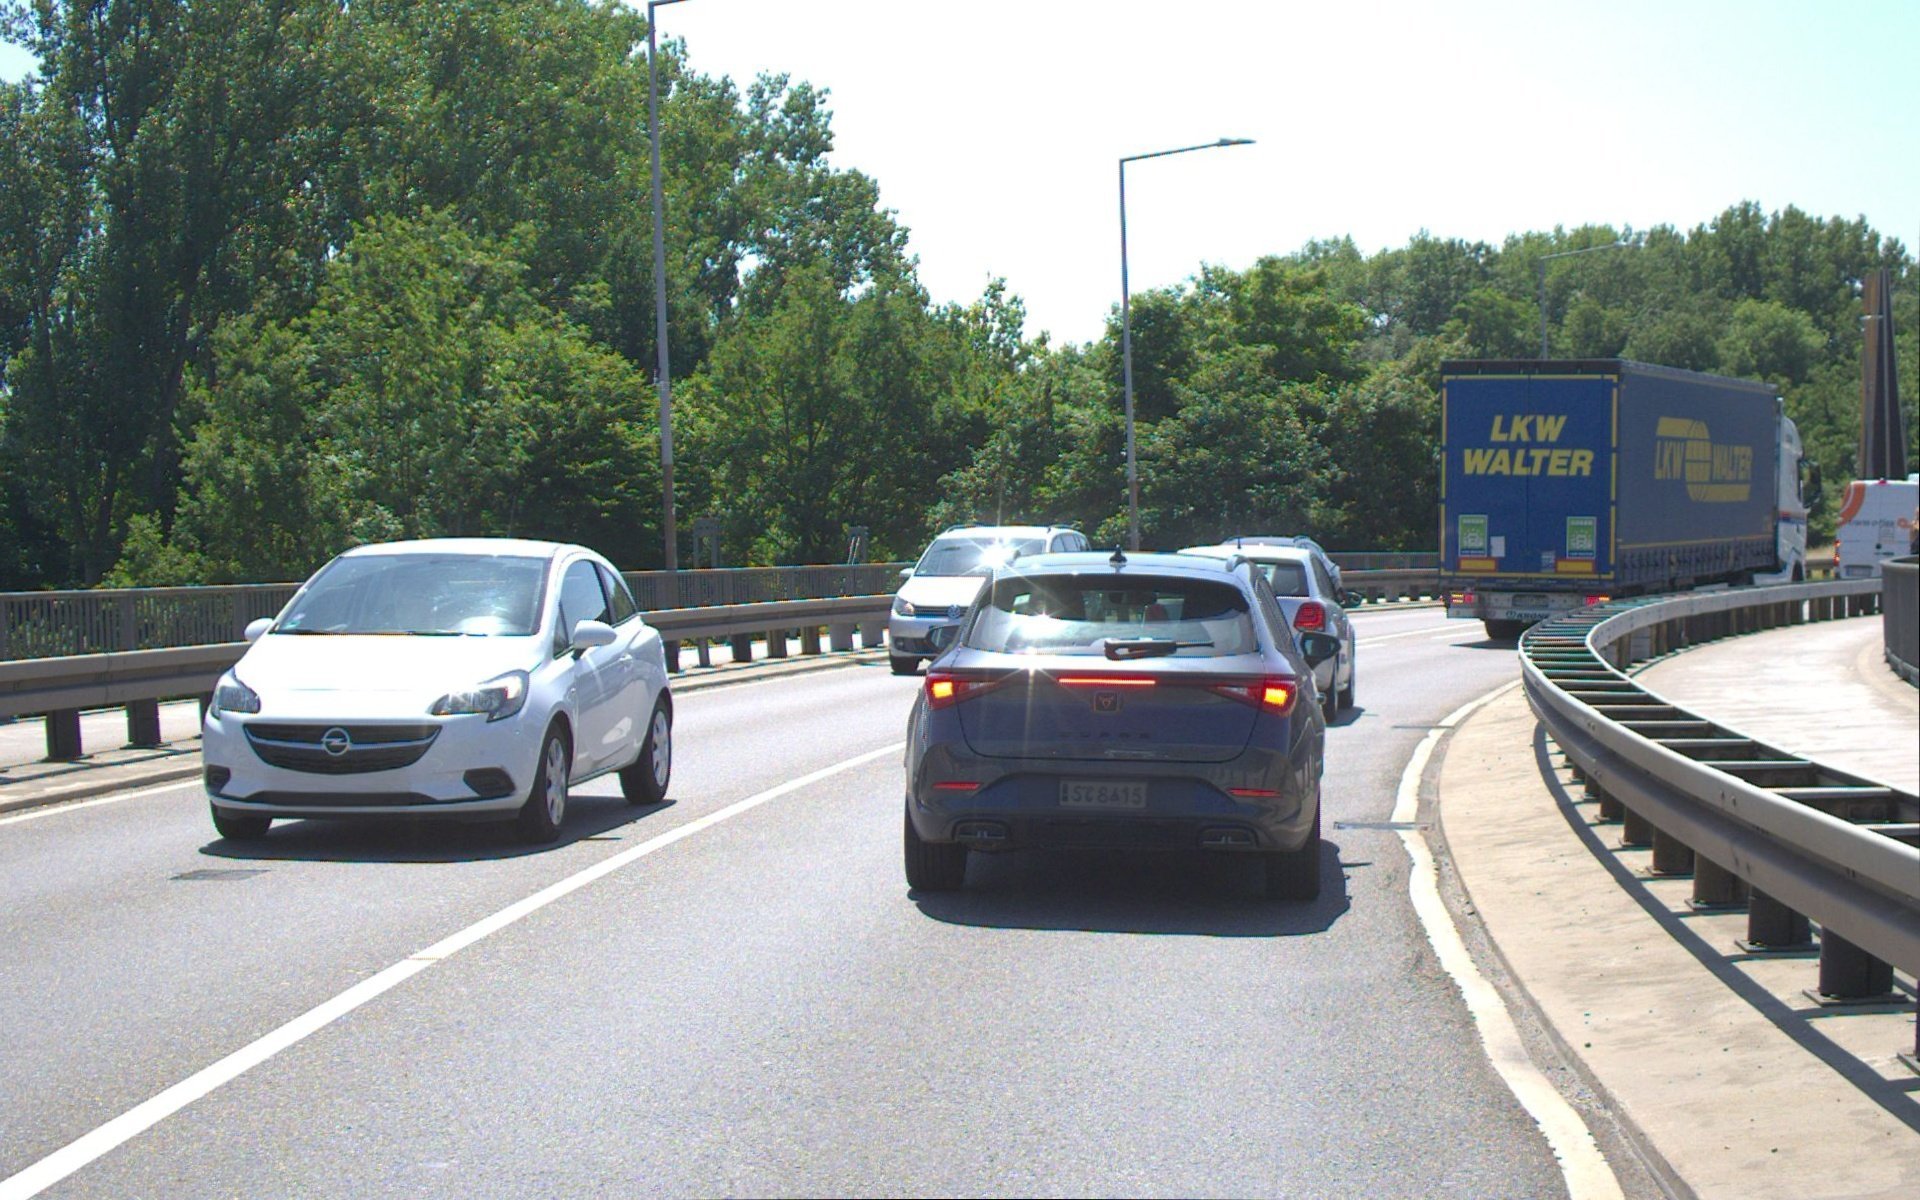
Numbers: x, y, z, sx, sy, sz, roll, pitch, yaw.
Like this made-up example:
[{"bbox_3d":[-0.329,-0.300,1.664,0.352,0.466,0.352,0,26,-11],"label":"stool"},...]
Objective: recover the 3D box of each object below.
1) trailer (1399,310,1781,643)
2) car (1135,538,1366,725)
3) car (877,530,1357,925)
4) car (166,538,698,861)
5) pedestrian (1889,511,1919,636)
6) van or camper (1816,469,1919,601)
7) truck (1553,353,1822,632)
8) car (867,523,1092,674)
[{"bbox_3d":[10.187,-1.769,53.992,3.138,4.598,12.933,2,1,23],"label":"trailer"},{"bbox_3d":[2.524,0.232,29.230,1.594,1.456,3.543,1,1,10],"label":"car"},{"bbox_3d":[0.681,0.456,15.209,1.845,1.493,3.758,1,1,2],"label":"car"},{"bbox_3d":[-2.601,0.442,17.856,1.725,1.478,3.865,-1,1,7],"label":"car"},{"bbox_3d":[15.171,-0.415,54.502,0.737,1.961,0.733,1,0,22],"label":"pedestrian"},{"bbox_3d":[20.302,-1.409,73.234,2.207,2.702,5.915,1,2,33],"label":"van or camper"},{"bbox_3d":[12.881,-1.790,60.340,3.174,4.569,7.387,1,0,23],"label":"truck"},{"bbox_3d":[0.279,-0.042,38.795,1.716,1.609,4.116,0,1,12],"label":"car"}]
